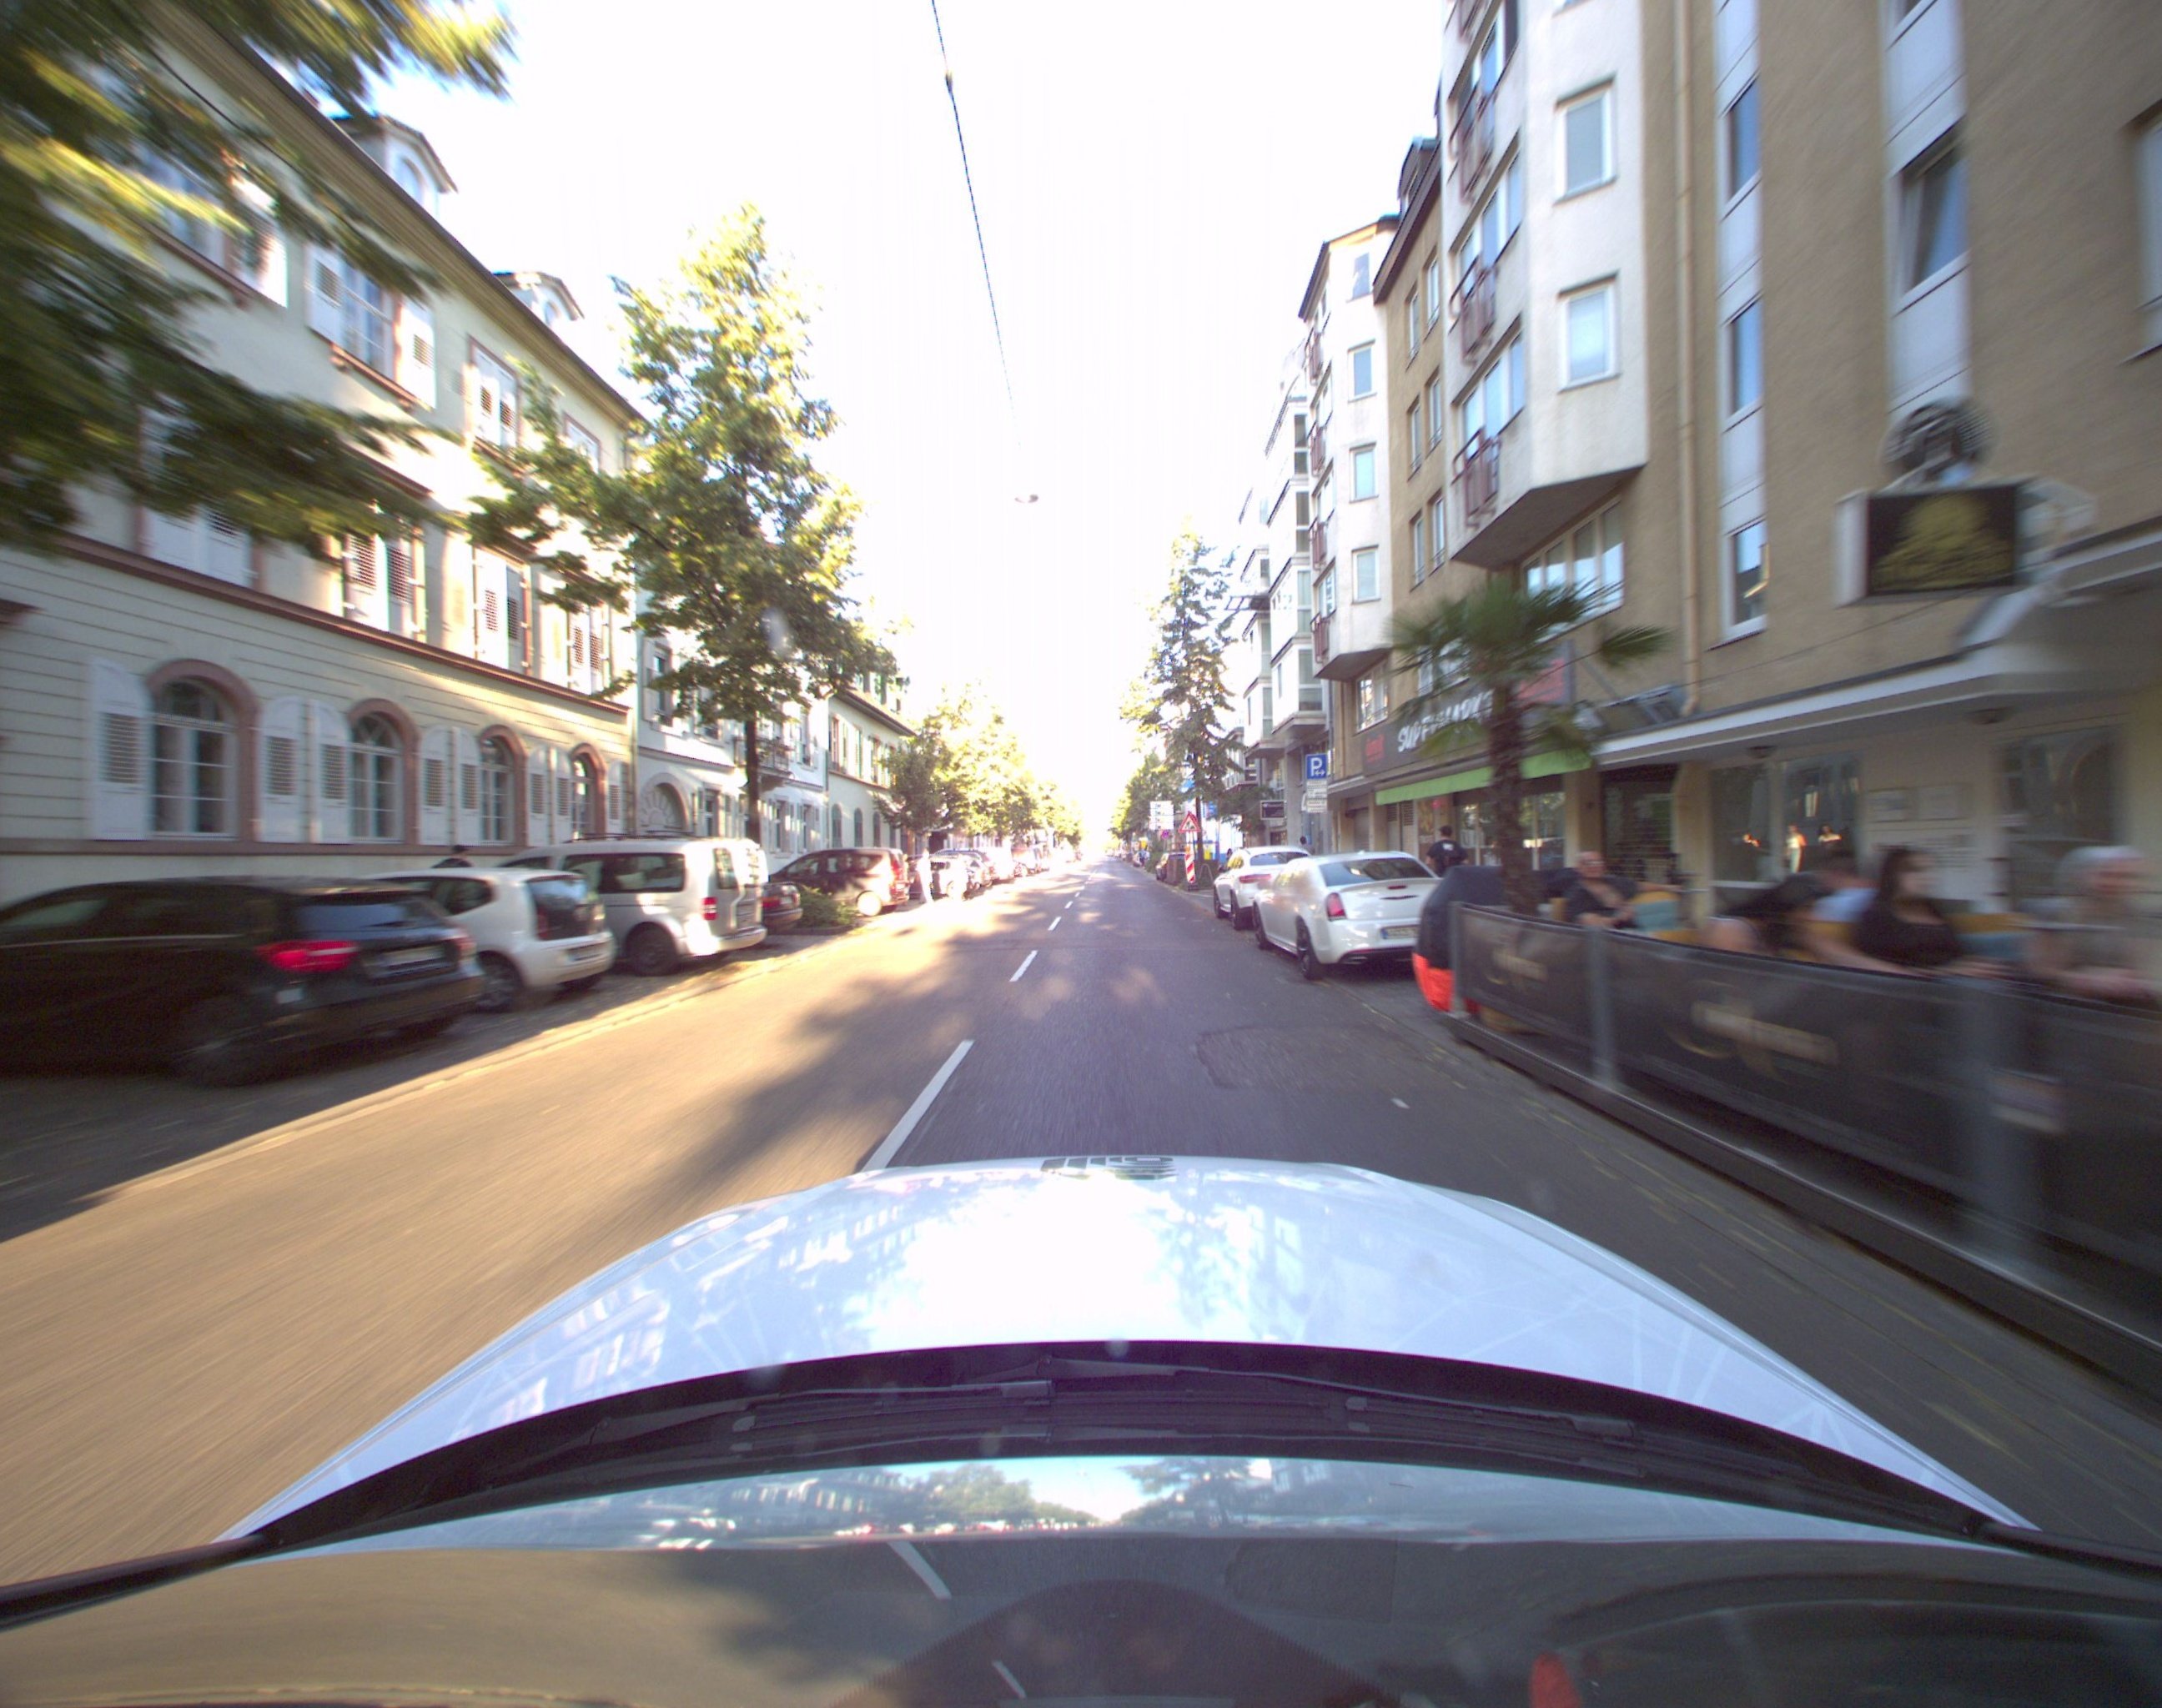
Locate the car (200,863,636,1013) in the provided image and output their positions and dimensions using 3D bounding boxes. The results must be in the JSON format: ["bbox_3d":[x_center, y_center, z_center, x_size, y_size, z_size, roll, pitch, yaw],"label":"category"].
[{"bbox_3d":[-7.103,0.854,9.028,3.360,1.467,1.712,0,0,-2],"label":"car"}]

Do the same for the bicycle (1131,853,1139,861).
[{"bbox_3d":[7.817,0.451,117.075,0.593,1.178,1.856,-1,0,21],"label":"bicycle"}]

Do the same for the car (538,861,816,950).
[{"bbox_3d":[-7.057,0.875,14.464,4.135,1.439,1.595,-1,0,3],"label":"car"}]

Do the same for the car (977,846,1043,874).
[{"bbox_3d":[-5.126,0.399,59.235,4.466,1.976,2.069,-1,0,2],"label":"car"}]

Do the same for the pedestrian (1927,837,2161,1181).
[{"bbox_3d":[4.422,0.634,3.643,0.575,1.384,0.603,-3,0,2],"label":"pedestrian"}]

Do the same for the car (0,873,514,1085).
[{"bbox_3d":[-7.066,0.868,6.384,3.974,1.404,1.749,0,-1,0],"label":"car"}]

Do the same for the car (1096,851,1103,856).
[{"bbox_3d":[5.386,-0.084,238.799,1.745,1.540,3.306,-1,-1,3],"label":"car"}]

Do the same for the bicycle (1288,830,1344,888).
[{"bbox_3d":[5.546,0.102,19.356,0.772,1.262,2.052,-3,0,3],"label":"bicycle"}]

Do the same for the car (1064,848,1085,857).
[{"bbox_3d":[-1.345,-0.259,170.302,4.425,1.759,1.920,0,0,2],"label":"car"}]

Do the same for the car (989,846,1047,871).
[{"bbox_3d":[-4.986,0.369,64.677,4.469,1.976,1.965,0,0,-1],"label":"car"}]

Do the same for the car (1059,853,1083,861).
[{"bbox_3d":[-1.932,0.490,152.922,4.425,1.448,1.920,0,0,2],"label":"car"}]

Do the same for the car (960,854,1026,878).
[{"bbox_3d":[-5.571,0.750,52.051,3.905,1.501,1.907,0,0,4],"label":"car"}]

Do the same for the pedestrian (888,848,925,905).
[{"bbox_3d":[-5.356,0.692,25.045,0.918,1.695,0.763,-2,0,2],"label":"pedestrian"}]

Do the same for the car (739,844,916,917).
[{"bbox_3d":[-6.727,0.673,21.893,4.120,1.806,1.808,-1,0,3],"label":"car"}]

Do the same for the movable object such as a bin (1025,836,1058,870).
[{"bbox_3d":[-3.609,-0.106,75.876,2.615,2.969,5.305,-1,0,2],"label":"movable object such as a bin"}]

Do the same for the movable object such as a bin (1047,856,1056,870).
[{"bbox_3d":[-2.526,0.771,69.556,0.687,1.105,0.884,-2,0,4],"label":"movable object such as a bin"}]

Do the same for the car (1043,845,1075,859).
[{"bbox_3d":[-3.270,-0.288,122.106,4.555,1.962,1.991,0,0,1],"label":"car"}]

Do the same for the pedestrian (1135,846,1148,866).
[{"bbox_3d":[5.796,0.212,77.897,1.013,1.825,0.778,-3,0,-8],"label":"pedestrian"}]

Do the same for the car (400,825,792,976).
[{"bbox_3d":[-6.746,0.619,11.662,4.480,1.953,1.921,-1,0,3],"label":"car"}]

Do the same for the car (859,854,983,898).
[{"bbox_3d":[-5.624,0.761,28.969,4.046,1.461,1.685,-1,0,-1],"label":"car"}]

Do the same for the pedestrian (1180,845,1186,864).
[{"bbox_3d":[10.192,0.049,81.521,0.460,1.875,0.499,-2,0,-13],"label":"pedestrian"}]

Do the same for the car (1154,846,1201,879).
[{"bbox_3d":[4.960,0.412,42.418,1.823,1.488,4.849,-3,0,0],"label":"car"}]

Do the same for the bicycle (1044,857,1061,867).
[{"bbox_3d":[-3.025,0.837,86.769,1.672,1.079,0.445,1,-1,9],"label":"bicycle"}]

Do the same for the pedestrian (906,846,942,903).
[{"bbox_3d":[-4.962,0.641,25.776,0.918,1.759,0.763,-2,0,2],"label":"pedestrian"}]

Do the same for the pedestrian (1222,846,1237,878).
[{"bbox_3d":[7.351,0.391,40.372,0.608,1.525,0.773,-2,0,2],"label":"pedestrian"}]

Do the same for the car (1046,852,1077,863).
[{"bbox_3d":[-2.989,0.540,124.764,4.553,1.698,2.061,0,0,2],"label":"car"}]

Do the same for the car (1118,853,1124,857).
[{"bbox_3d":[10.732,0.257,219.820,1.507,1.276,3.306,-1,0,3],"label":"car"}]

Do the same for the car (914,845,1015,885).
[{"bbox_3d":[-5.921,0.539,41.807,4.852,1.908,1.974,-1,0,1],"label":"car"}]

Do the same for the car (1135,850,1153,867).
[{"bbox_3d":[6.476,0.423,83.955,1.680,1.575,4.015,-3,0,2],"label":"car"}]

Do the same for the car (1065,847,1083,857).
[{"bbox_3d":[-1.791,-0.432,207.911,4.425,2.435,1.920,0,0,2],"label":"car"}]

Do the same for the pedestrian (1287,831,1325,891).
[{"bbox_3d":[7.002,0.206,25.404,0.853,1.794,0.996,-2,0,-2],"label":"pedestrian"}]

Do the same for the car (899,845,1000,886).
[{"bbox_3d":[-6.239,0.530,38.865,4.411,1.870,1.895,-1,0,2],"label":"car"}]

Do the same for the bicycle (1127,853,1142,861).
[{"bbox_3d":[7.620,0.434,115.618,1.935,1.074,0.710,-1,0,33],"label":"bicycle"}]

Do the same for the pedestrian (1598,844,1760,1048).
[{"bbox_3d":[3.928,0.576,5.396,0.575,1.244,0.603,-3,0,2],"label":"pedestrian"}]

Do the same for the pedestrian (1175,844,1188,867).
[{"bbox_3d":[8.387,0.120,67.922,0.820,1.854,1.097,-3,0,0],"label":"pedestrian"}]

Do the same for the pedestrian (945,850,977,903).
[{"bbox_3d":[-3.845,0.705,26.060,0.824,1.638,0.828,-2,0,2],"label":"pedestrian"}]

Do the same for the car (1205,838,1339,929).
[{"bbox_3d":[3.909,0.546,17.476,1.872,1.574,4.694,-4,0,2],"label":"car"}]

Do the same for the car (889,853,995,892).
[{"bbox_3d":[-5.720,0.751,33.943,4.023,1.483,1.963,-1,0,1],"label":"car"}]

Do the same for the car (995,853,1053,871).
[{"bbox_3d":[-4.717,0.638,67.664,4.573,1.470,1.895,0,0,4],"label":"car"}]

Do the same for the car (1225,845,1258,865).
[{"bbox_3d":[12.631,0.138,64.213,1.728,1.431,4.910,-2,-1,2],"label":"car"}]

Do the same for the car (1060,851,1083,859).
[{"bbox_3d":[-1.895,0.227,163.805,4.425,1.523,1.920,0,0,2],"label":"car"}]

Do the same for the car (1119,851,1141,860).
[{"bbox_3d":[8.524,0.286,140.432,1.654,1.588,3.846,0,0,44],"label":"car"}]

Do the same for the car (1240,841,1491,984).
[{"bbox_3d":[3.665,0.647,11.639,1.835,1.480,5.192,-4,0,2],"label":"car"}]

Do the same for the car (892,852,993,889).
[{"bbox_3d":[-6.148,0.717,36.420,4.019,1.555,1.967,-1,0,4],"label":"car"}]

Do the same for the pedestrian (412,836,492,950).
[{"bbox_3d":[-10.262,0.615,13.307,0.659,1.802,0.780,-1,0,2],"label":"pedestrian"}]

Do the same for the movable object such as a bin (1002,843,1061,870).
[{"bbox_3d":[-4.832,0.213,80.512,2.285,2.495,5.788,-1,0,45],"label":"movable object such as a bin"}]

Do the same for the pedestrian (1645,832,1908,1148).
[{"bbox_3d":[3.204,0.580,3.819,0.575,1.319,0.704,-3,0,2],"label":"pedestrian"}]

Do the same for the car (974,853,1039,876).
[{"bbox_3d":[-4.993,0.672,55.081,4.317,1.501,1.840,0,0,-4],"label":"car"}]

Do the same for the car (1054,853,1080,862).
[{"bbox_3d":[-2.526,0.681,146.293,4.425,1.568,1.920,0,0,2],"label":"car"}]

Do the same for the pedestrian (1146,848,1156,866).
[{"bbox_3d":[6.901,0.272,80.455,0.657,1.700,0.660,-3,0,-42],"label":"pedestrian"}]

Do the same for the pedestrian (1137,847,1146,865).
[{"bbox_3d":[6.026,0.239,80.738,0.677,1.754,0.823,-2,0,-9],"label":"pedestrian"}]

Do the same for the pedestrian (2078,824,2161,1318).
[{"bbox_3d":[3.291,0.601,2.121,0.575,1.384,0.603,-3,0,2],"label":"pedestrian"}]

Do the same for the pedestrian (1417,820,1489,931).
[{"bbox_3d":[5.957,0.335,13.074,0.785,1.704,0.701,-2,0,1],"label":"pedestrian"}]
